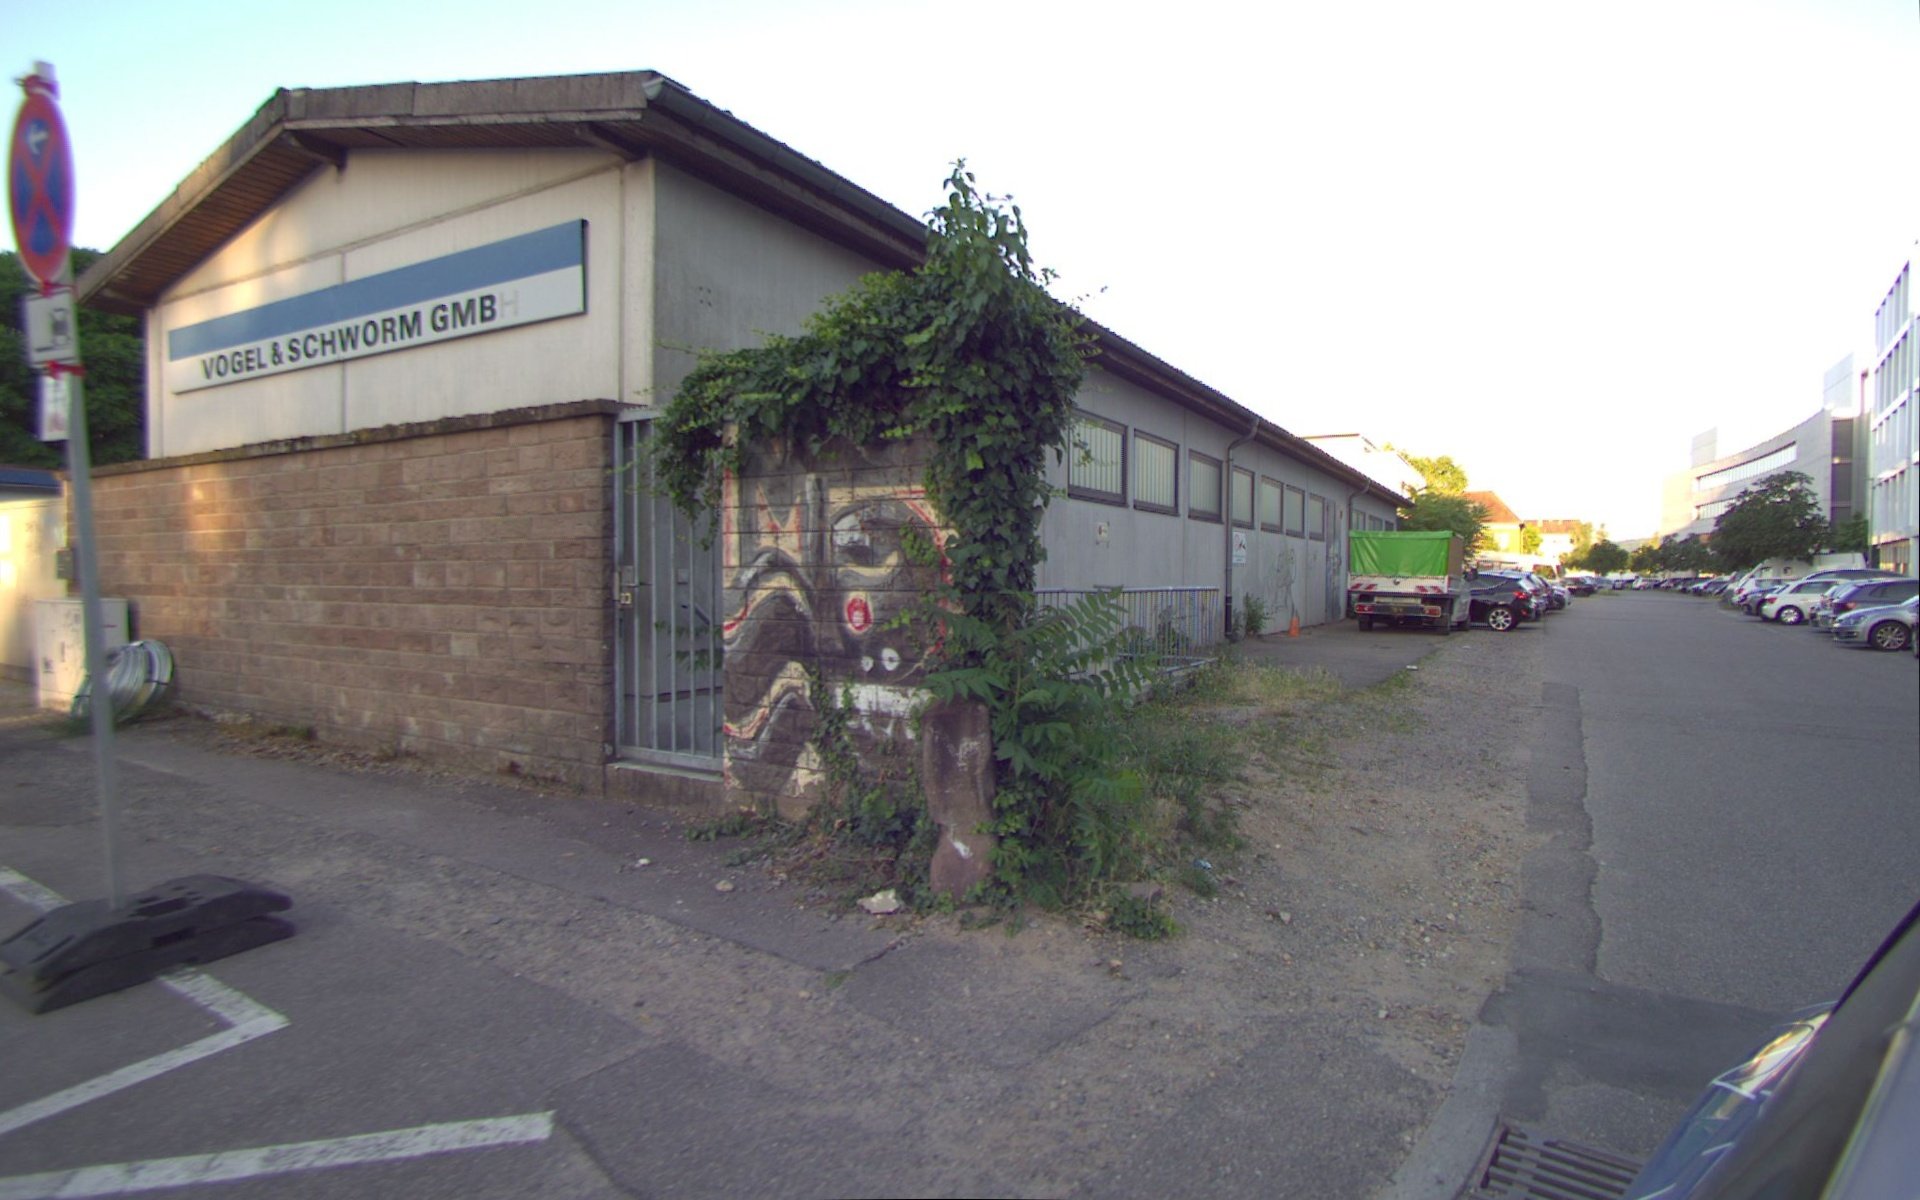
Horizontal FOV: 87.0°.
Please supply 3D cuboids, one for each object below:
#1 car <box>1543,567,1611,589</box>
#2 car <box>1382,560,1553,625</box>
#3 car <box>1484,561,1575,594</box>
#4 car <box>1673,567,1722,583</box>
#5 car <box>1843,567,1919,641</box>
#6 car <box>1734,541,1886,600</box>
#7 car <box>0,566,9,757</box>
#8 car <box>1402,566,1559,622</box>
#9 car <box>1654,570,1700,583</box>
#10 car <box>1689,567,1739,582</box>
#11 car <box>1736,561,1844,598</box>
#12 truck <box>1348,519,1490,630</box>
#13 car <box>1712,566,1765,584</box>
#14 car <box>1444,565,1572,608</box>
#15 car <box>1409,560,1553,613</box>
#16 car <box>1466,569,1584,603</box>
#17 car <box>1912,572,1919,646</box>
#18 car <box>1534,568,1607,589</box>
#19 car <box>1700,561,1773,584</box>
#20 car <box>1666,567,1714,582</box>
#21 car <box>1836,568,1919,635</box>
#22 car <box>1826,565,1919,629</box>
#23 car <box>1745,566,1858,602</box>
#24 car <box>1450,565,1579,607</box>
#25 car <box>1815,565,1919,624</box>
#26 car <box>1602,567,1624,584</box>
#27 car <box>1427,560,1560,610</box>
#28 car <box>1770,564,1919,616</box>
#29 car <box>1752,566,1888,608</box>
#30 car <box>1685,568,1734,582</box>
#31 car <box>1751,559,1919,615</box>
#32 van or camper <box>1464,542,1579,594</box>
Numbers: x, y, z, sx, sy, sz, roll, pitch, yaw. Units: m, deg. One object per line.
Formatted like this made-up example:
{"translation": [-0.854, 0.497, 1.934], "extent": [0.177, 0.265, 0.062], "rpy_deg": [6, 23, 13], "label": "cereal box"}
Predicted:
{"translation": [44.348, -1.593, 72.771], "extent": [4.040, 1.425, 1.874], "rpy_deg": [3, 2, 33], "label": "car"}
{"translation": [13.219, -0.222, 26.403], "extent": [3.748, 1.554, 1.868], "rpy_deg": [0, 3, 36], "label": "car"}
{"translation": [32.562, -1.308, 57.882], "extent": [4.235, 1.762, 1.940], "rpy_deg": [3, 3, 40], "label": "car"}
{"translation": [80.586, -2.722, 110.672], "extent": [3.985, 1.603, 1.785], "rpy_deg": [-1, 1, 25], "label": "car"}
{"translation": [21.040, 0.062, 21.030], "extent": [3.917, 1.530, 1.665], "rpy_deg": [0, 1, 38], "label": "car"}
{"translation": [40.115, -1.355, 47.970], "extent": [5.368, 2.666, 2.050], "rpy_deg": [0, 1, 38], "label": "car"}
{"translation": [-8.220, 0.400, 5.072], "extent": [1.812, 1.549, 4.693], "rpy_deg": [1, 4, 23], "label": "car"}
{"translation": [14.579, -0.179, 28.388], "extent": [3.745, 1.462, 1.824], "rpy_deg": [0, 2, 34], "label": "car"}
{"translation": [83.169, -2.683, 117.430], "extent": [3.985, 1.365, 1.785], "rpy_deg": [-1, 1, 25], "label": "car"}
{"translation": [75.227, -2.519, 100.994], "extent": [3.781, 1.378, 1.781], "rpy_deg": [-1, 1, 30], "label": "car"}
{"translation": [42.920, -1.027, 52.439], "extent": [4.090, 1.840, 1.795], "rpy_deg": [0, 1, 33], "label": "car"}
{"translation": [10.707, -0.564, 23.325], "extent": [2.090, 2.228, 5.642], "rpy_deg": [2, 1, 34], "label": "truck"}
{"translation": [69.382, -2.216, 90.277], "extent": [3.632, 1.442, 1.705], "rpy_deg": [-1, 1, 35], "label": "car"}
{"translation": [19.979, -0.487, 36.941], "extent": [3.971, 1.463, 1.805], "rpy_deg": [0, 2, 35], "label": "car"}
{"translation": [16.801, -0.438, 32.659], "extent": [3.968, 1.629, 1.916], "rpy_deg": [0, 1, 34], "label": "car"}
{"translation": [23.997, -0.597, 43.049], "extent": [4.194, 1.384, 1.798], "rpy_deg": [0, 1, 38], "label": "car"}
{"translation": [18.598, 0.189, 18.080], "extent": [1.642, 1.457, 4.150], "rpy_deg": [-3, 0, 35], "label": "car"}
{"translation": [42.788, -1.510, 70.949], "extent": [4.298, 1.349, 1.875], "rpy_deg": [3, 3, 33], "label": "car"}
{"translation": [70.808, -2.490, 92.395], "extent": [5.041, 1.904, 1.869], "rpy_deg": [-1, 1, 30], "label": "car"}
{"translation": [81.340, -2.810, 112.782], "extent": [3.985, 1.603, 1.785], "rpy_deg": [-1, 1, 25], "label": "car"}
{"translation": [22.587, 0.019, 23.212], "extent": [3.645, 1.530, 1.665], "rpy_deg": [0, 1, 37], "label": "car"}
{"translation": [23.869, -0.086, 24.998], "extent": [3.645, 1.530, 1.665], "rpy_deg": [0, 1, 37], "label": "car"}
{"translation": [36.925, -0.689, 44.553], "extent": [3.697, 1.514, 1.685], "rpy_deg": [0, 1, 36], "label": "car"}
{"translation": [21.317, -0.538, 38.952], "extent": [4.191, 1.521, 1.866], "rpy_deg": [0, 2, 36], "label": "car"}
{"translation": [25.537, -0.152, 27.080], "extent": [3.955, 1.530, 1.771], "rpy_deg": [0, 1, 38], "label": "car"}
{"translation": [59.719, -2.218, 92.557], "extent": [1.670, 1.481, 4.316], "rpy_deg": [2, 2, 33], "label": "car"}
{"translation": [18.335, -0.512, 34.826], "extent": [3.965, 1.639, 1.807], "rpy_deg": [0, 1, 32], "label": "car"}
{"translation": [27.491, -0.300, 31.423], "extent": [3.661, 1.530, 1.672], "rpy_deg": [0, 1, 40], "label": "car"}
{"translation": [32.568, -0.485, 38.458], "extent": [3.768, 1.541, 1.673], "rpy_deg": [0, 1, 35], "label": "car"}
{"translation": [76.517, -2.530, 103.313], "extent": [3.781, 1.378, 1.781], "rpy_deg": [-1, 1, 30], "label": "car"}
{"translation": [29.064, -0.419, 33.428], "extent": [4.612, 1.727, 1.976], "rpy_deg": [0, 1, 40], "label": "car"}
{"translation": [33.593, -1.949, 60.605], "extent": [5.759, 2.899, 2.458], "rpy_deg": [3, 3, 34], "label": "van or camper"}
